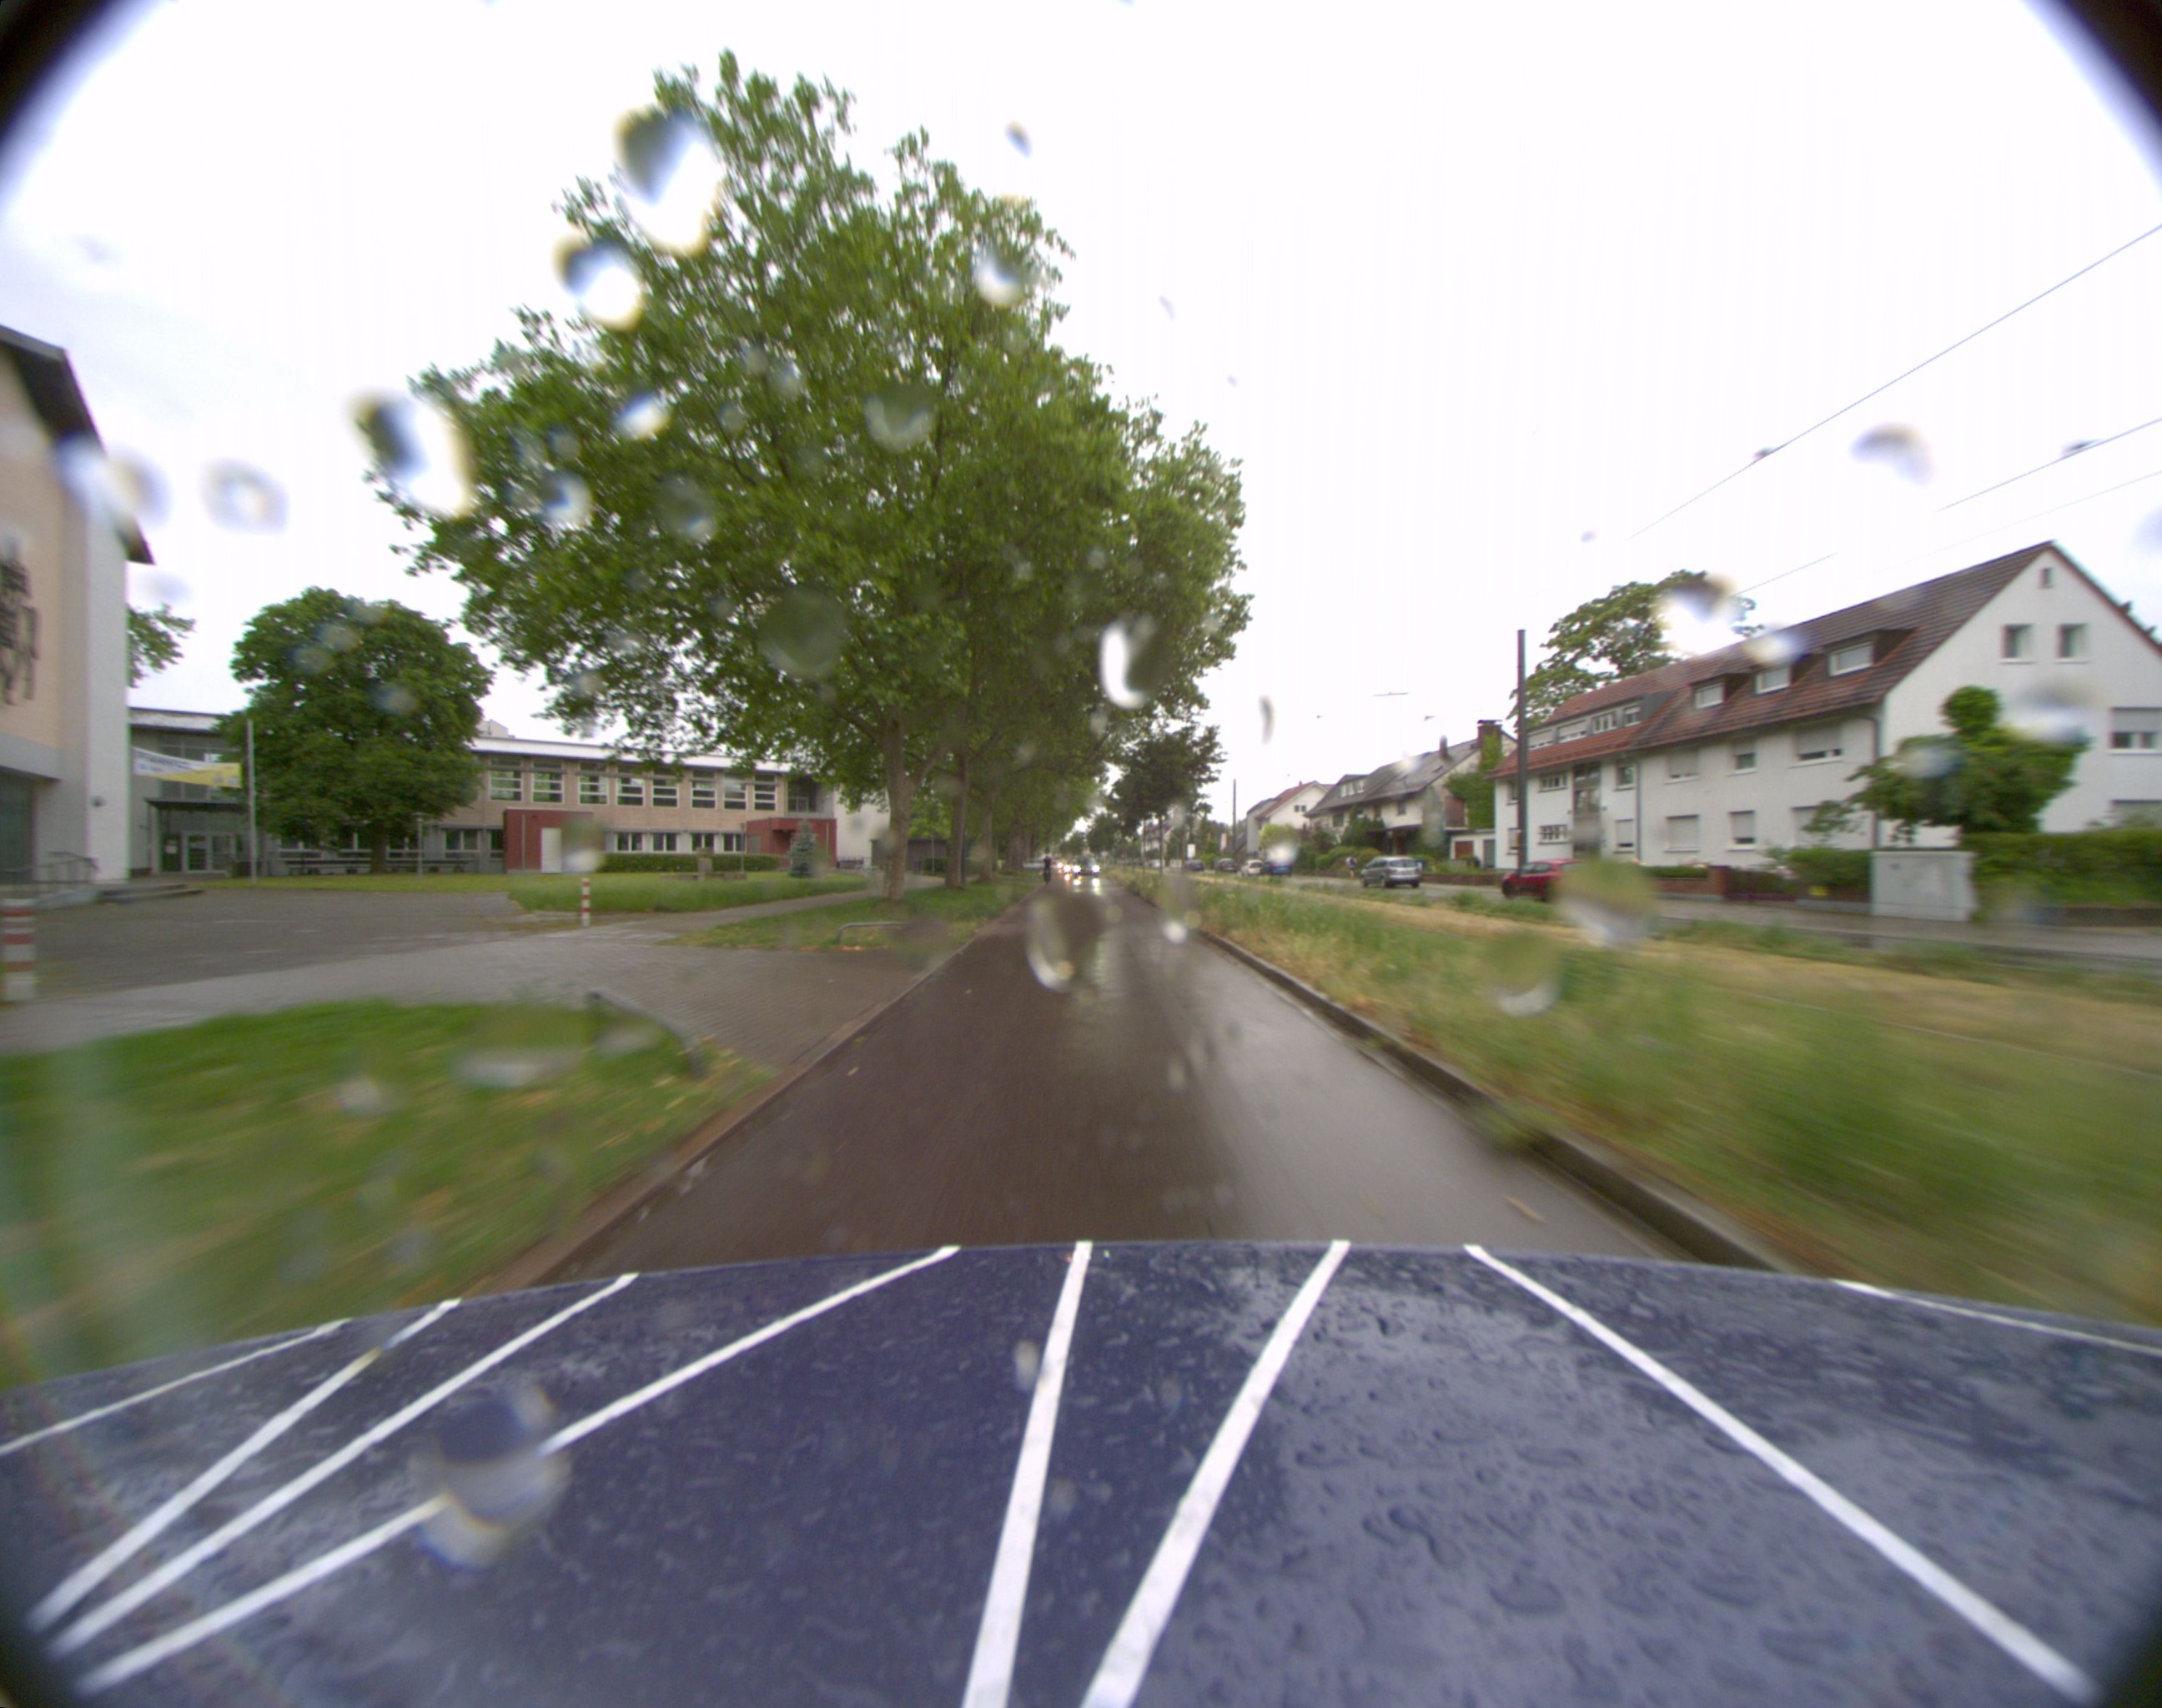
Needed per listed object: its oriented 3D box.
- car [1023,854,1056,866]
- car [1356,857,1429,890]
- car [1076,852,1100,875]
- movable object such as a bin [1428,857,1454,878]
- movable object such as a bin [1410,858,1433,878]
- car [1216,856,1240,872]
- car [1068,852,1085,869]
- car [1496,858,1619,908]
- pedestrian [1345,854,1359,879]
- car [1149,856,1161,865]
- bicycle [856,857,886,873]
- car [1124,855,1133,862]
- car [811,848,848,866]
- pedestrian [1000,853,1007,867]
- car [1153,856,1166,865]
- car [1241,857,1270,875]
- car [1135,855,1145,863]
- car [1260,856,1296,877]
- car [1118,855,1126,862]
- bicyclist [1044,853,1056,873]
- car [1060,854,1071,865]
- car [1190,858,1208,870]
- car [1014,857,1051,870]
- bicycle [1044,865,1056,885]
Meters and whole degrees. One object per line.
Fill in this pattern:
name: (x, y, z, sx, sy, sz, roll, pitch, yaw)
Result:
car: (-5.530, 0.768, 100.669, 4.021, 1.478, 1.636, 1, 0, -20)
car: (16.501, 0.985, 40.469, 1.998, 1.604, 4.684, -1, 0, 1)
car: (0.513, 0.723, 58.610, 1.767, 1.715, 3.934, -2, 0, -1)
movable object such as a bin: (23.228, 0.857, 49.043, 1.257, 1.290, 0.739, -1, 0, 1)
movable object such as a bin: (21.993, 0.898, 49.090, 1.187, 1.290, 0.739, -1, 0, 1)
car: (15.941, 1.023, 82.722, 1.759, 1.604, 4.110, -3, 0, 0)
car: (-0.485, 0.692, 79.458, 1.767, 1.715, 3.933, -1, 0, -1)
car: (16.693, 0.964, 26.888, 1.846, 1.538, 3.973, -3, 0, 1)
pedestrian: (18.975, 0.861, 53.196, 0.599, 1.757, 0.869, -1, 0, 0)
car: (13.485, 1.195, 138.522, 1.759, 1.507, 3.854, -3, 0, 0)
bicycle: (-14.408, 0.753, 52.181, 0.519, 1.115, 1.942, 3, 1, 43)
car: (11.384, 1.093, 182.172, 1.759, 1.507, 3.854, -3, 0, 0)
car: (-20.856, 0.236, 62.910, 1.753, 1.443, 3.572, -2, 1, -38)
pedestrian: (-8.271, 0.647, 81.146, 0.748, 1.529, 0.585, 1, 0, -1)
car: (13.875, 1.159, 133.983, 1.759, 1.507, 3.854, -3, 0, 0)
car: (16.294, 1.079, 71.097, 1.718, 1.520, 3.601, -3, 0, -1)
car: (12.593, 1.100, 161.131, 1.759, 1.507, 3.854, -3, 0, 0)
car: (16.573, 1.014, 64.136, 1.849, 1.696, 4.182, -1, 0, -2)
car: (10.539, 1.168, 193.948, 1.759, 1.507, 3.854, -3, 0, 0)
bicyclist: (-1.720, 0.502, 42.165, 0.622, 1.078, 0.624, 0, 1, -2)
car: (-2.475, 0.859, 121.479, 1.768, 1.715, 3.933, 0, 1, -2)
car: (15.565, 1.290, 100.177, 1.759, 1.507, 3.854, -3, 0, 0)
car: (-5.750, 1.099, 89.343, 4.021, 1.478, 1.636, 1, 0, -20)
bicycle: (-1.726, 1.165, 42.194, 0.659, 1.008, 2.256, 0, 1, -2)
